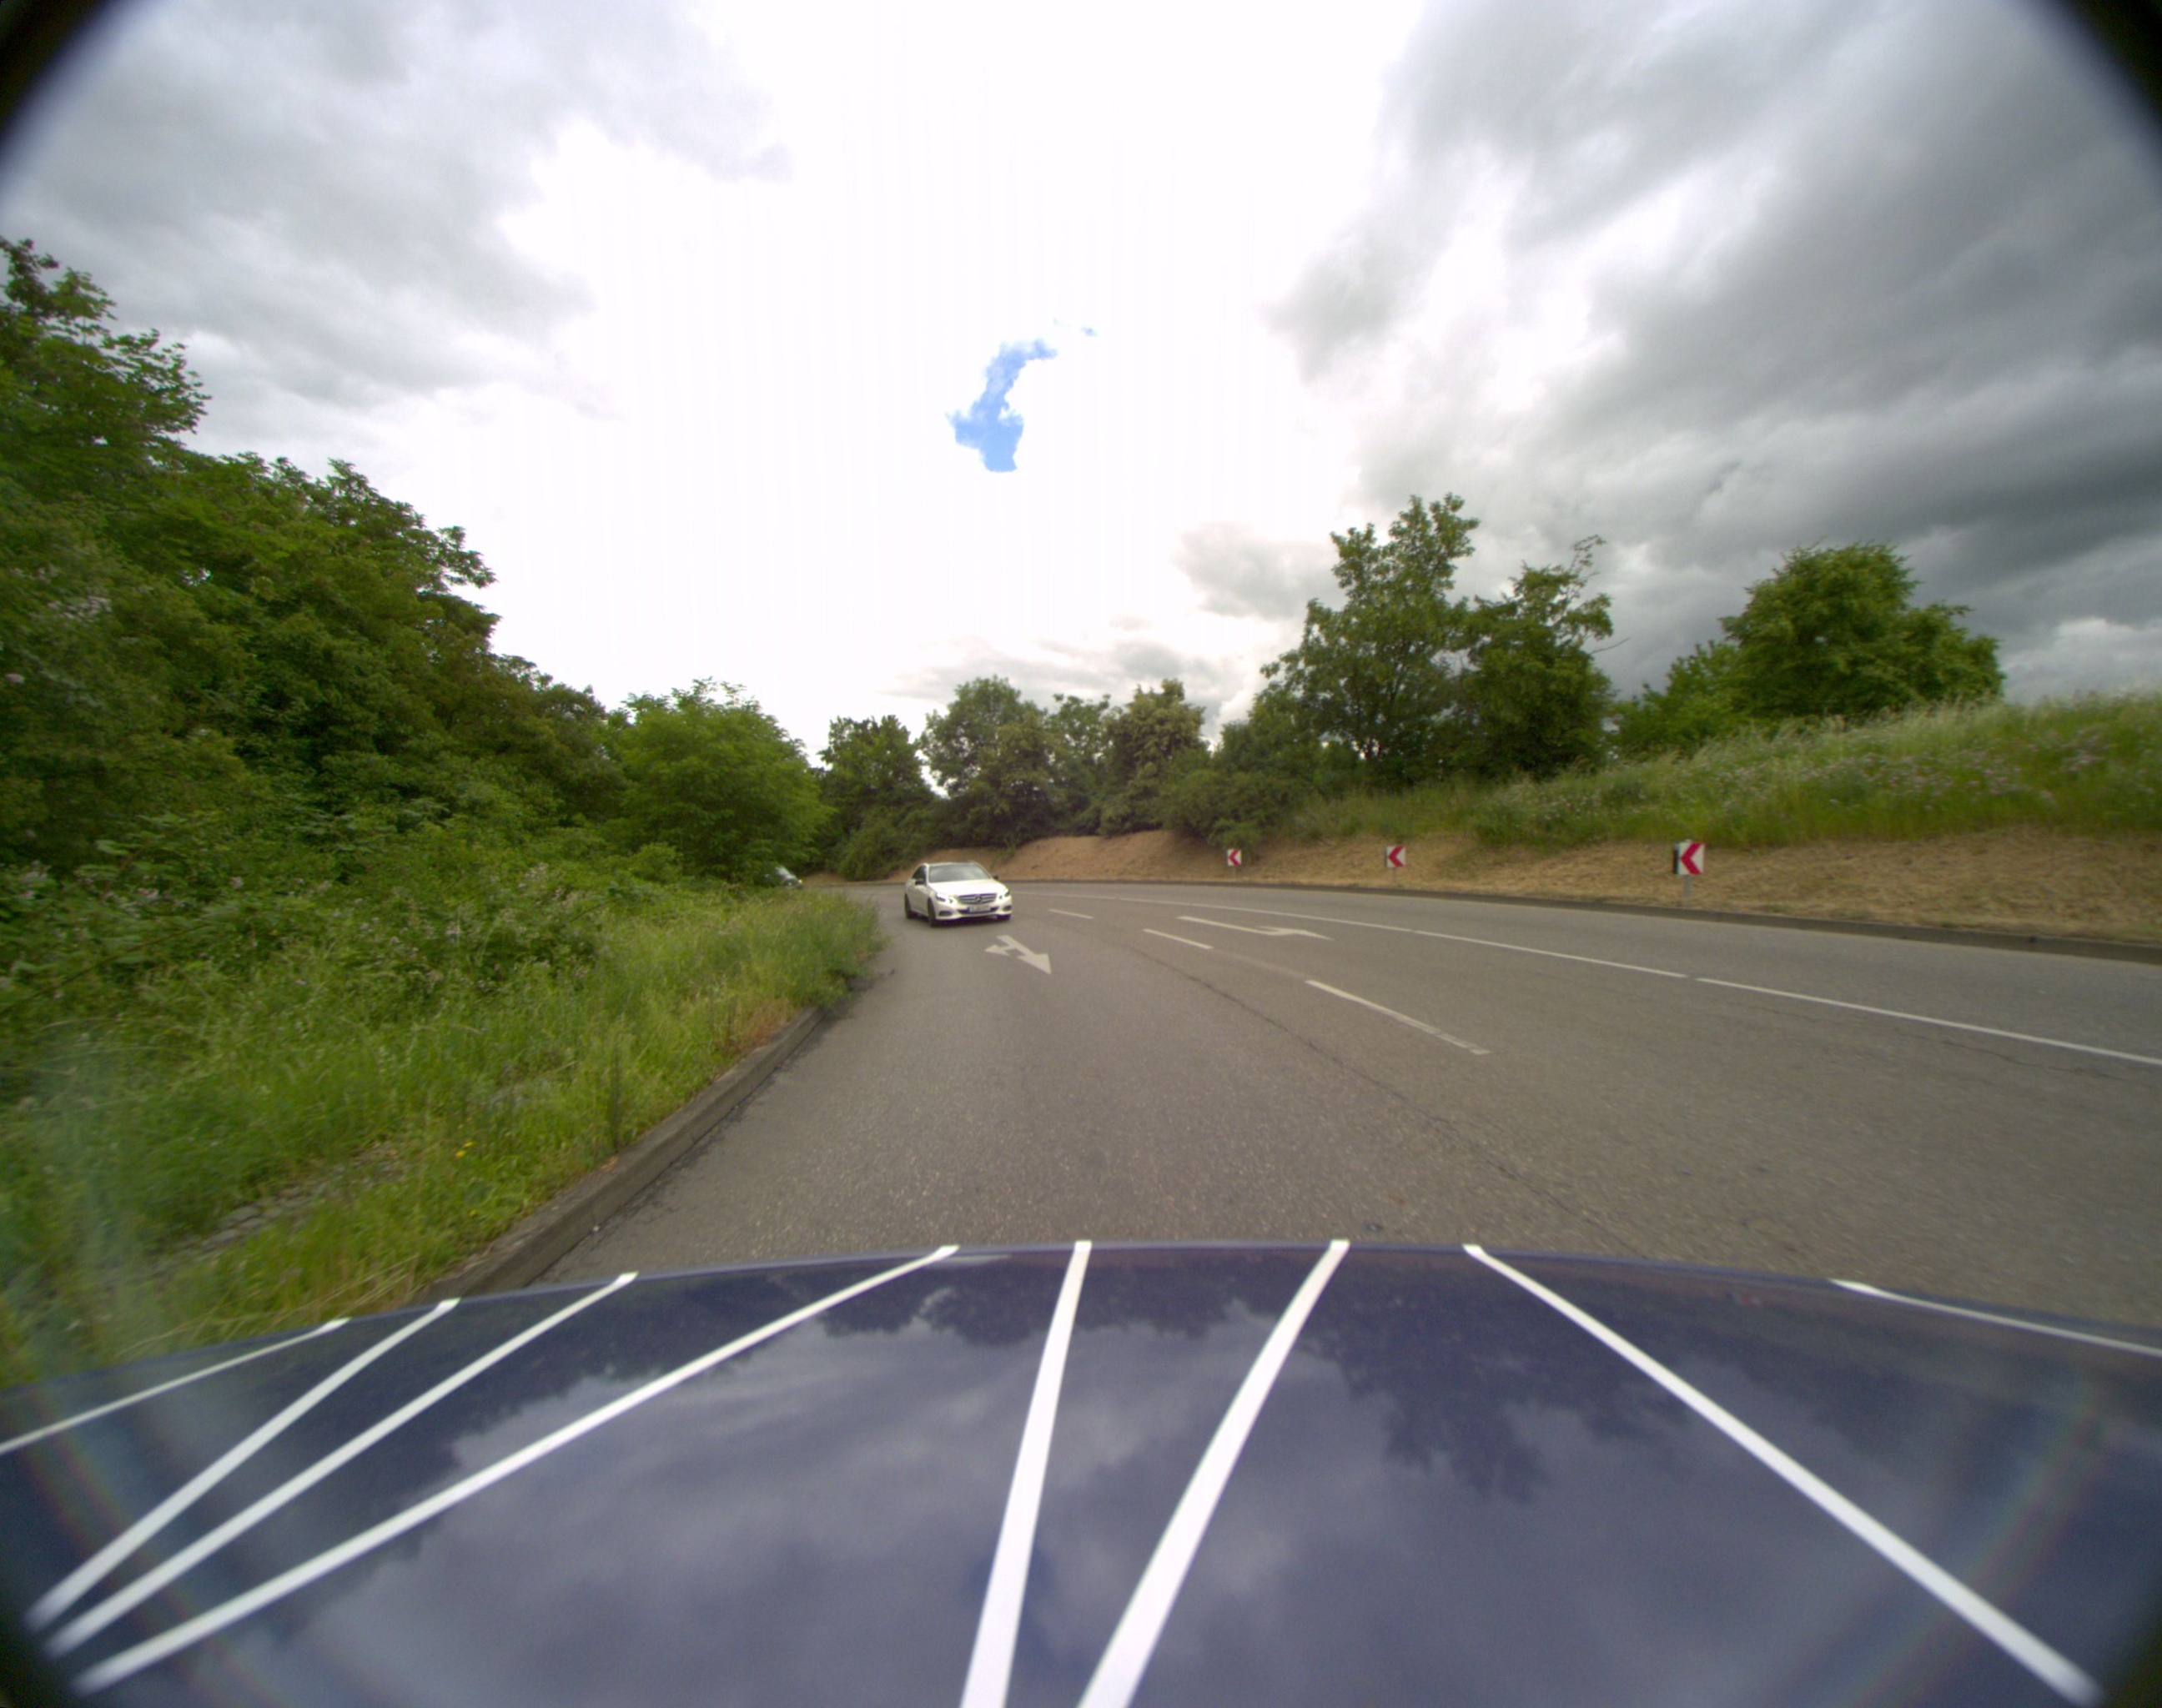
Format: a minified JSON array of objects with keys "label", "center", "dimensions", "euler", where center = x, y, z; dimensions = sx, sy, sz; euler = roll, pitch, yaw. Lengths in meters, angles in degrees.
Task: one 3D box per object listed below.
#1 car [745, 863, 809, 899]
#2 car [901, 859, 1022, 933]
[{"label":"car","center":[-14.308,1.293,35.627],"dimensions":[1.827,1.535,3.717],"euler":[-2,-1,-37]},{"label":"car","center":[-3.052,0.927,18.663],"dimensions":[1.890,1.414,3.992],"euler":[-5,2,-24]}]
